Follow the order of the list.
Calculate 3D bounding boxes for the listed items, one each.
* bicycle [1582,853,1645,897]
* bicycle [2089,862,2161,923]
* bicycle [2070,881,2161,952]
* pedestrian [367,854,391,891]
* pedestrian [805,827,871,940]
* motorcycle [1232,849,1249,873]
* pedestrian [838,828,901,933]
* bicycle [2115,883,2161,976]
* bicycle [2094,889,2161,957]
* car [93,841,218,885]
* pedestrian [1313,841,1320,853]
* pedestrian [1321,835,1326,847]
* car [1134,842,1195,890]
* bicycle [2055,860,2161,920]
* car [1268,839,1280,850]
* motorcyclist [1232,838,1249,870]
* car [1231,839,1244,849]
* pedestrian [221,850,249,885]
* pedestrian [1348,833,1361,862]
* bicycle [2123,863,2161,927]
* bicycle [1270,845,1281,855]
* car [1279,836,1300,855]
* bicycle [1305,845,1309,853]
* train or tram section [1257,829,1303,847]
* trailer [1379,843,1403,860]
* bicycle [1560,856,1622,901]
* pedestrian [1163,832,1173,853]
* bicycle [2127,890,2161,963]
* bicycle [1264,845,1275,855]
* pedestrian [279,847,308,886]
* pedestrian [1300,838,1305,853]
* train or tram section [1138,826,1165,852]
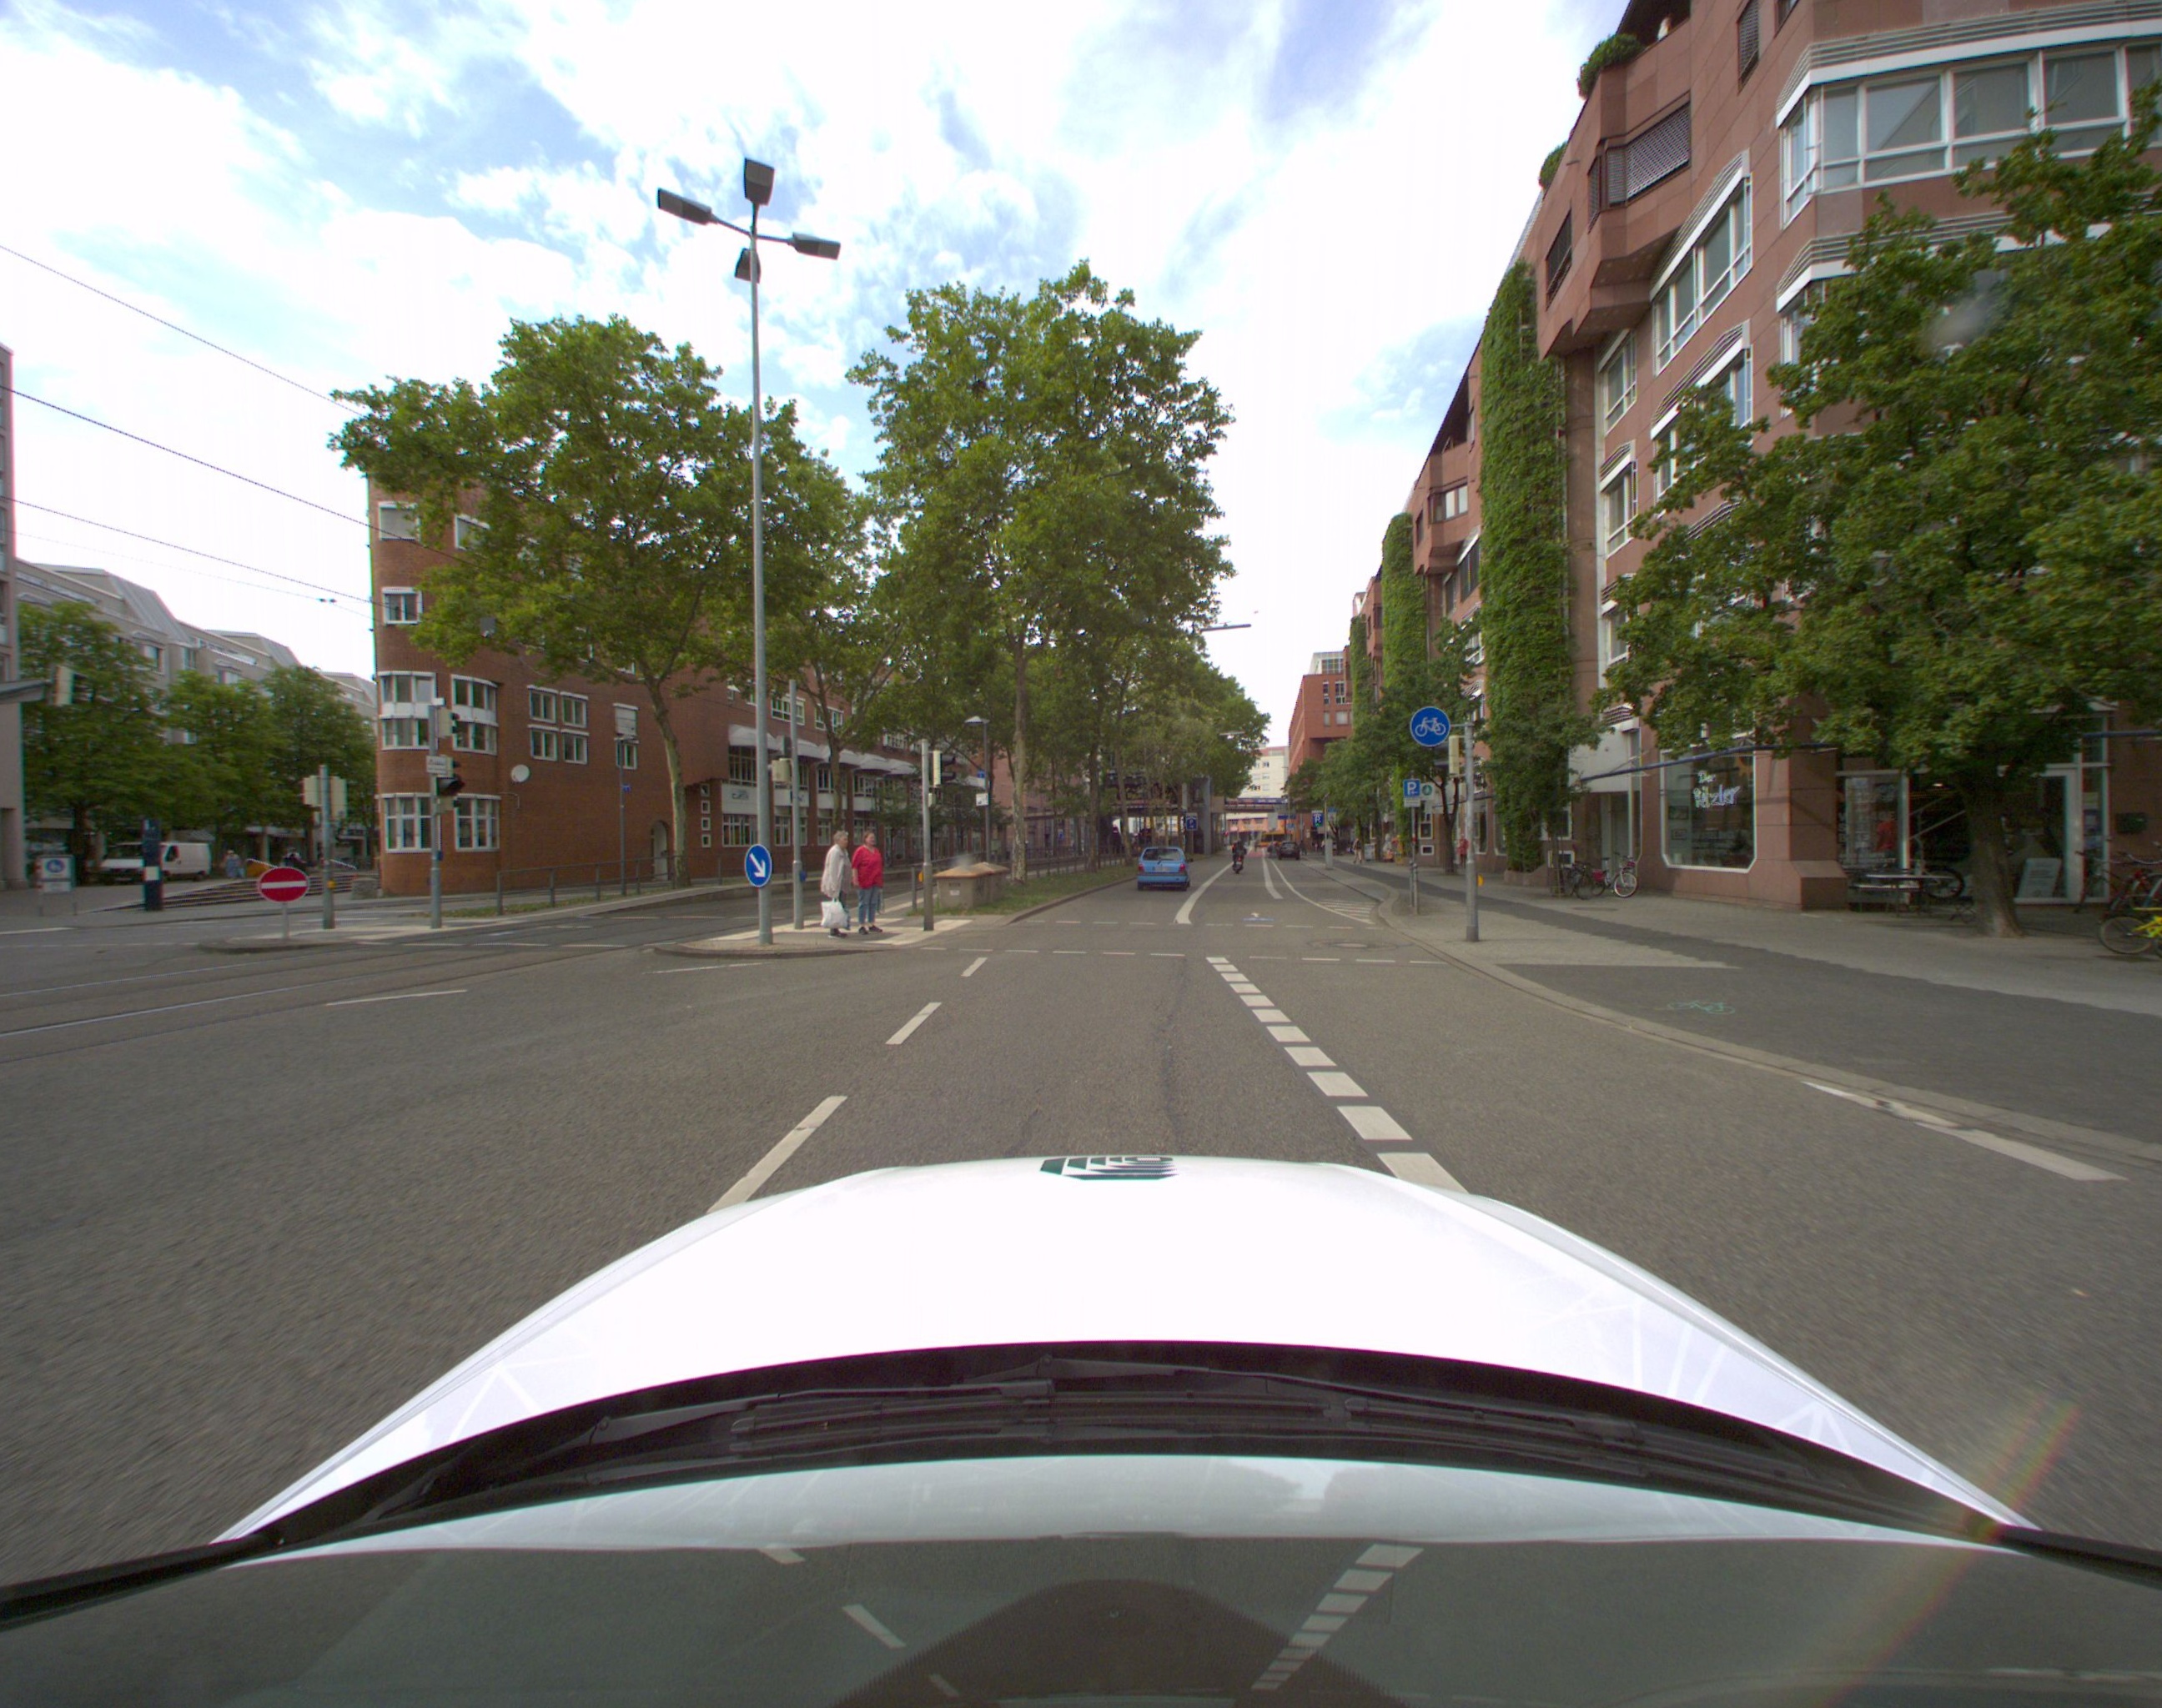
[{"bbox_3d":[13.335,0.504,20.450,0.613,1.008,1.739,-1,1,7],"label":"bicycle"},{"bbox_3d":[18.191,0.643,13.711,1.720,1.008,0.431,-1,1,8],"label":"bicycle"},{"bbox_3d":[13.966,0.810,10.601,1.287,0.868,0.456,-3,0,23],"label":"bicycle"},{"bbox_3d":[-34.644,0.906,40.205,0.696,1.817,0.650,-1,1,-25],"label":"pedestrian"},{"bbox_3d":[-3.841,0.442,12.905,0.548,1.718,0.895,-1,1,19],"label":"pedestrian"},{"bbox_3d":[7.786,0.317,39.800,0.762,1.107,2.215,-1,1,11],"label":"motorcycle"},{"bbox_3d":[-3.593,0.428,13.858,0.547,1.718,0.896,0,1,28],"label":"pedestrian"},{"bbox_3d":[12.272,0.859,8.601,0.614,1.008,1.738,-1,1,6],"label":"bicycle"},{"bbox_3d":[13.728,0.860,10.170,1.287,0.813,0.447,0,1,23],"label":"bicycle"},{"bbox_3d":[-44.076,0.356,38.961,2.002,1.936,4.907,-1,1,-24],"label":"car"},{"bbox_3d":[30.094,-0.894,104.027,0.665,1.561,0.730,-1,1,8],"label":"pedestrian"},{"bbox_3d":[30.584,-1.648,102.862,0.542,1.561,0.617,-1,1,12],"label":"pedestrian"},{"bbox_3d":[2.829,0.345,26.912,1.630,1.385,3.856,0,2,12],"label":"car"},{"bbox_3d":[18.223,0.628,14.201,1.720,1.008,0.473,-1,1,8],"label":"bicycle"},{"bbox_3d":[30.097,-1.451,126.844,1.687,1.601,4.015,-1,1,13],"label":"car"},{"bbox_3d":[7.779,-0.020,39.818,0.755,1.519,1.020,-1,1,10],"label":"motorcyclist"},{"bbox_3d":[25.719,-1.642,133.597,1.873,1.624,4.015,-1,1,13],"label":"car"},{"bbox_3d":[-41.761,0.662,40.209,0.696,1.671,0.825,-1,1,-25],"label":"pedestrian"},{"bbox_3d":[17.337,-0.413,51.624,0.642,1.858,0.785,-1,1,11],"label":"pedestrian"},{"bbox_3d":[18.139,0.653,13.210,1.720,1.008,0.438,-1,1,8],"label":"bicycle"},{"bbox_3d":[19.712,-0.434,82.403,0.562,1.008,2.007,-1,1,-3],"label":"bicycle"},{"bbox_3d":[18.135,-0.764,70.823,1.687,1.601,4.015,-1,1,13],"label":"car"},{"bbox_3d":[26.211,-0.559,94.468,0.353,0.939,1.213,-1,1,13],"label":"bicycle"},{"bbox_3d":[39.351,-3.171,161.163,8.800,3.253,2.386,-1,1,-14],"label":"train or tram section"},{"bbox_3d":[19.795,-0.166,51.970,0.982,1.059,1.619,0,1,37],"label":"trailer"},{"bbox_3d":[12.688,0.588,20.316,0.613,1.008,1.739,-1,1,7],"label":"bicycle"},{"bbox_3d":[7.788,-1.024,72.946,0.723,1.858,0.873,-1,1,13],"label":"pedestrian"},{"bbox_3d":[13.477,0.862,9.653,1.288,0.838,0.456,0,1,19],"label":"bicycle"},{"bbox_3d":[19.047,-0.407,82.482,0.562,1.008,2.007,-1,1,-3],"label":"bicycle"},{"bbox_3d":[-40.631,0.651,42.046,0.793,1.963,0.799,-1,1,-23],"label":"pedestrian"},{"bbox_3d":[25.760,-0.996,94.791,0.506,1.759,0.541,-1,1,12],"label":"pedestrian"},{"bbox_3d":[9.320,-1.937,106.978,2.373,3.253,8.848,-1,1,12],"label":"train or tram section"}]
